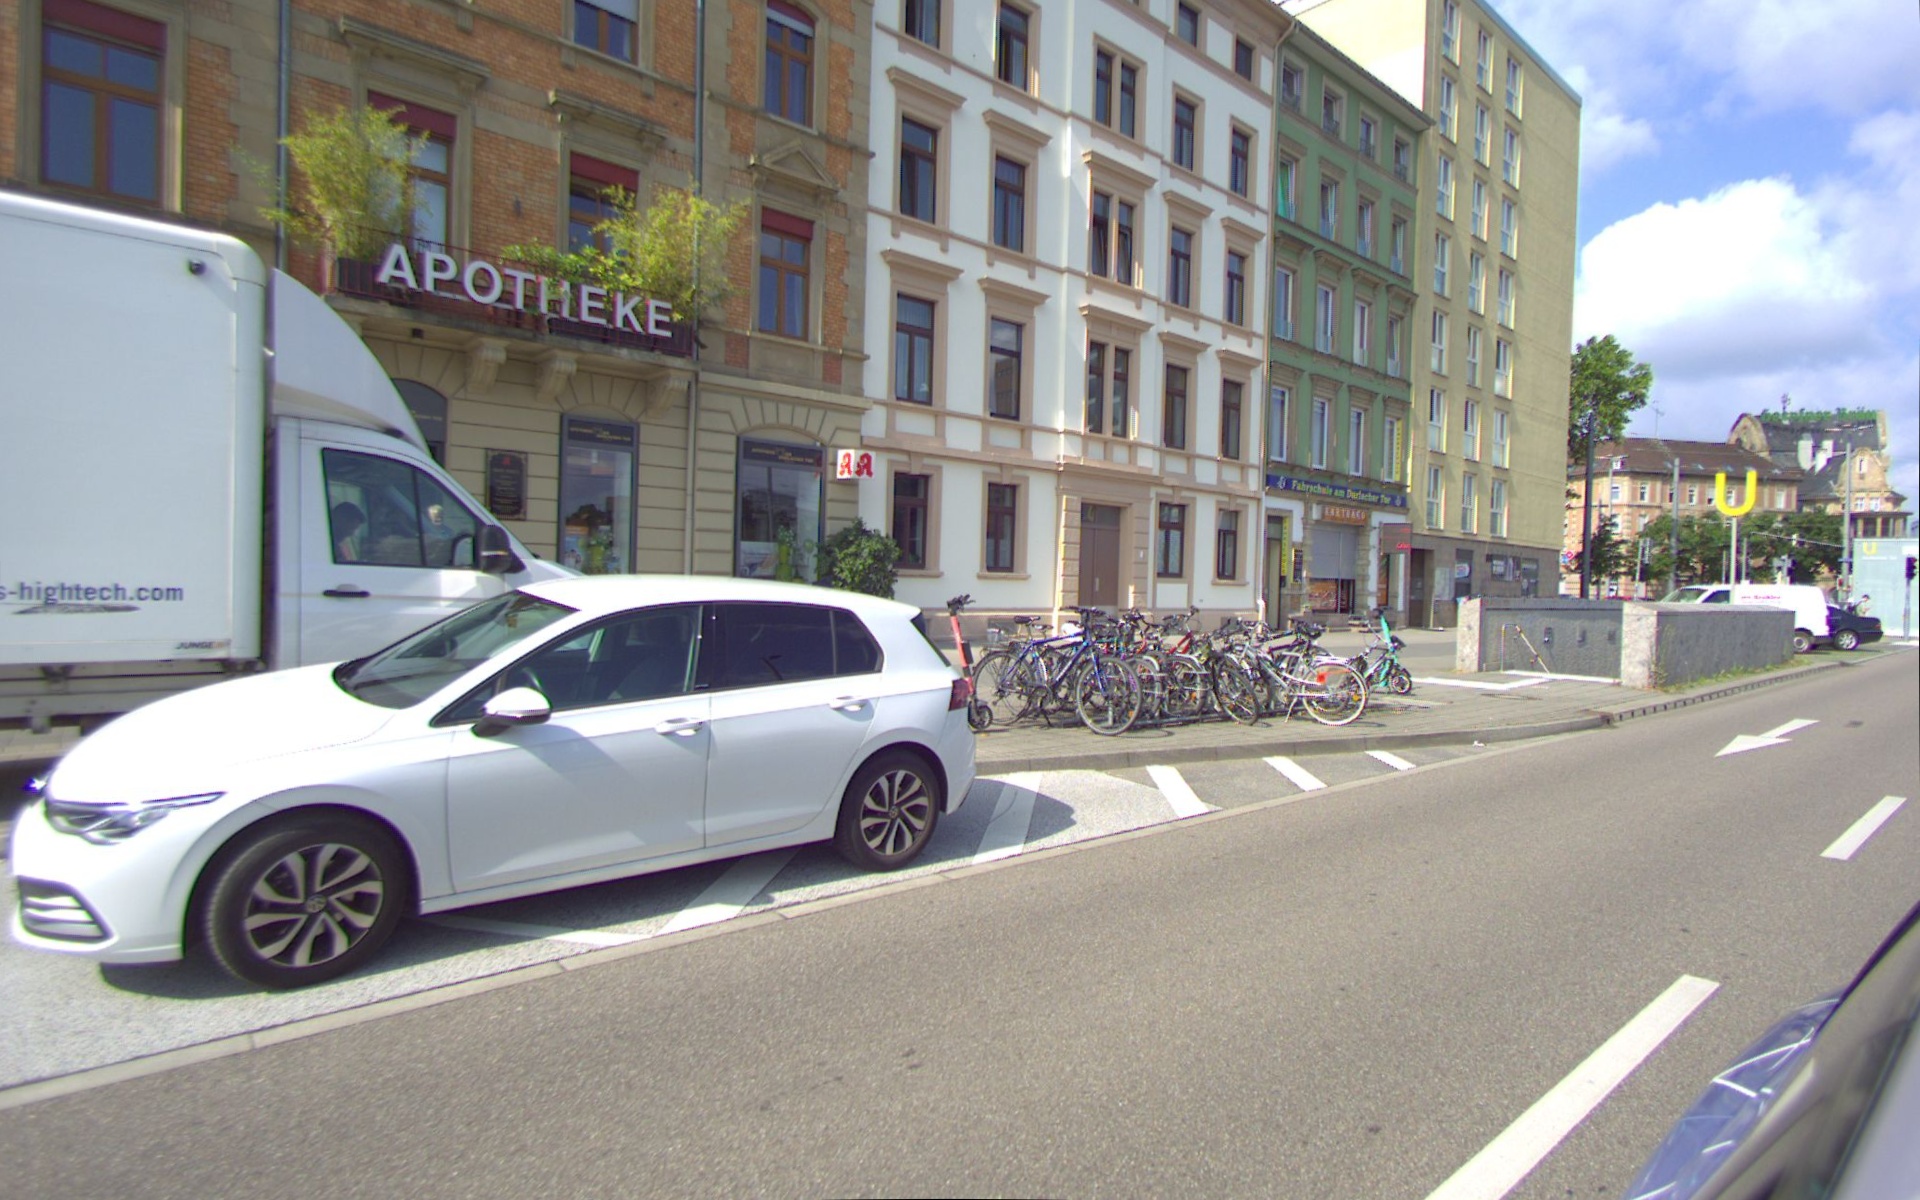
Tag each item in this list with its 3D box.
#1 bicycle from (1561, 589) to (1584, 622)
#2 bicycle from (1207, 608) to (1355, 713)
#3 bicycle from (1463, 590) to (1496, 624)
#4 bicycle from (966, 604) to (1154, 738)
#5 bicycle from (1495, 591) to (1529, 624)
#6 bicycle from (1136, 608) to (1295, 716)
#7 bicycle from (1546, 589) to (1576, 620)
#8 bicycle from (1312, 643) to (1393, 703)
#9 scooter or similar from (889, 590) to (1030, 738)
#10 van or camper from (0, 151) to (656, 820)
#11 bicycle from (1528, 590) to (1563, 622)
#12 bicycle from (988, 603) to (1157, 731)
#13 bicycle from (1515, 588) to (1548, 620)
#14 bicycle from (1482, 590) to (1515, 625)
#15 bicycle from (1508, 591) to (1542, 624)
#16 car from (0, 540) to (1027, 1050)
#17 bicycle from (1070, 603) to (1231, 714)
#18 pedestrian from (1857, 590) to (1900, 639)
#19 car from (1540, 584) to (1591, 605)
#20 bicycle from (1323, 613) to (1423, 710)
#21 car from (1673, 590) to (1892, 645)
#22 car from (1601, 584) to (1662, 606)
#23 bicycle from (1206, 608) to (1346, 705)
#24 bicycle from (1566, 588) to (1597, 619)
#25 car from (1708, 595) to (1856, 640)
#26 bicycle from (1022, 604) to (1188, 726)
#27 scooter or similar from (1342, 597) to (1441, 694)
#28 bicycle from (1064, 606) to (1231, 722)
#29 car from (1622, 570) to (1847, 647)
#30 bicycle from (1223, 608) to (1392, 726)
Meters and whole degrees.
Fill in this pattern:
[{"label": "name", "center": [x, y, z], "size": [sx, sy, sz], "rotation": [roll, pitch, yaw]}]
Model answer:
[{"label": "bicycle", "center": [25.257, 0.206, 41.698], "size": [0.486, 1.288, 1.862], "rotation": [3, 2, 41]}, {"label": "bicycle", "center": [3.760, 0.677, 11.984], "size": [0.365, 1.099, 1.763], "rotation": [2, 0, -38]}, {"label": "bicycle", "center": [19.057, 0.256, 37.124], "size": [1.617, 1.216, 0.487], "rotation": [0, 2, -41]}, {"label": "bicycle", "center": [0.894, 0.618, 9.353], "size": [1.752, 1.099, 0.368], "rotation": [2, 0, 34]}, {"label": "bicycle", "center": [21.233, 0.272, 38.894], "size": [1.615, 1.216, 0.488], "rotation": [0, 2, -37]}, {"label": "bicycle", "center": [2.879, 0.665, 11.522], "size": [1.756, 1.099, 0.367], "rotation": [2, 0, 41]}, {"label": "bicycle", "center": [25.137, 0.181, 42.326], "size": [1.615, 1.288, 0.488], "rotation": [0, 2, -37]}, {"label": "bicycle", "center": [5.210, 0.951, 13.537], "size": [0.628, 0.593, 1.767], "rotation": [2, 2, 9]}, {"label": "scooter or similar", "center": [0.008, 0.531, 8.893], "size": [1.227, 1.229, 0.370], "rotation": [0, 0, -32]}, {"label": "van or camper", "center": [-5.950, -0.622, 5.963], "size": [7.503, 3.371, 2.719], "rotation": [-1, 3, -40]}, {"label": "bicycle", "center": [22.880, 0.235, 39.537], "size": [1.615, 1.216, 0.549], "rotation": [0, 2, -37]}, {"label": "bicycle", "center": [1.057, 0.605, 9.849], "size": [1.759, 1.099, 0.366], "rotation": [2, 0, 44]}, {"label": "bicycle", "center": [22.584, 0.144, 40.014], "size": [1.615, 1.216, 0.488], "rotation": [0, 2, -37]}, {"label": "bicycle", "center": [19.514, 0.253, 36.684], "size": [1.617, 1.216, 0.487], "rotation": [0, 2, -41]}, {"label": "bicycle", "center": [21.416, 0.289, 38.352], "size": [1.615, 1.216, 0.488], "rotation": [0, 2, -37]}, {"label": "car", "center": [-1.865, 0.525, 5.045], "size": [4.266, 1.454, 1.796], "rotation": [-1, 6, -39]}, {"label": "bicycle", "center": [2.076, 0.610, 11.186], "size": [1.754, 1.099, 0.367], "rotation": [2, 0, 38]}, {"label": "pedestrian", "center": [34.619, 0.523, 38.153], "size": [0.985, 1.781, 0.780], "rotation": [-1, 3, 25]}, {"label": "car", "center": [54.122, -0.519, 90.587], "size": [1.961, 1.570, 4.006], "rotation": [0, 4, -4]}, {"label": "bicycle", "center": [4.983, 0.714, 12.156], "size": [1.733, 1.085, 0.372], "rotation": [1, 0, -42]}, {"label": "car", "center": [25.495, 0.507, 31.552], "size": [4.979, 1.487, 1.887], "rotation": [1, 2, 8]}, {"label": "car", "center": [55.245, -0.433, 83.310], "size": [1.959, 1.537, 4.008], "rotation": [-3, 3, -8]}, {"label": "bicycle", "center": [3.944, 0.676, 12.756], "size": [0.365, 1.099, 1.763], "rotation": [2, 0, -38]}, {"label": "bicycle", "center": [26.415, 0.147, 43.034], "size": [1.615, 1.288, 0.531], "rotation": [0, 2, -37]}, {"label": "car", "center": [27.637, 0.573, 34.129], "size": [3.454, 1.458, 1.716], "rotation": [0, 1, 9]}, {"label": "bicycle", "center": [1.427, 0.615, 10.232], "size": [1.759, 1.099, 0.366], "rotation": [2, 0, 44]}, {"label": "scooter or similar", "center": [6.030, 0.611, 14.163], "size": [1.159, 1.253, 0.377], "rotation": [4, 2, 38]}, {"label": "bicycle", "center": [1.954, 0.639, 10.737], "size": [1.754, 1.099, 0.367], "rotation": [2, 0, 38]}, {"label": "car", "center": [22.452, 0.226, 29.508], "size": [4.811, 2.111, 2.077], "rotation": [0, 0, 4]}, {"label": "bicycle", "center": [3.568, 0.656, 10.453], "size": [1.588, 1.099, 0.368], "rotation": [2, 0, 31]}]
